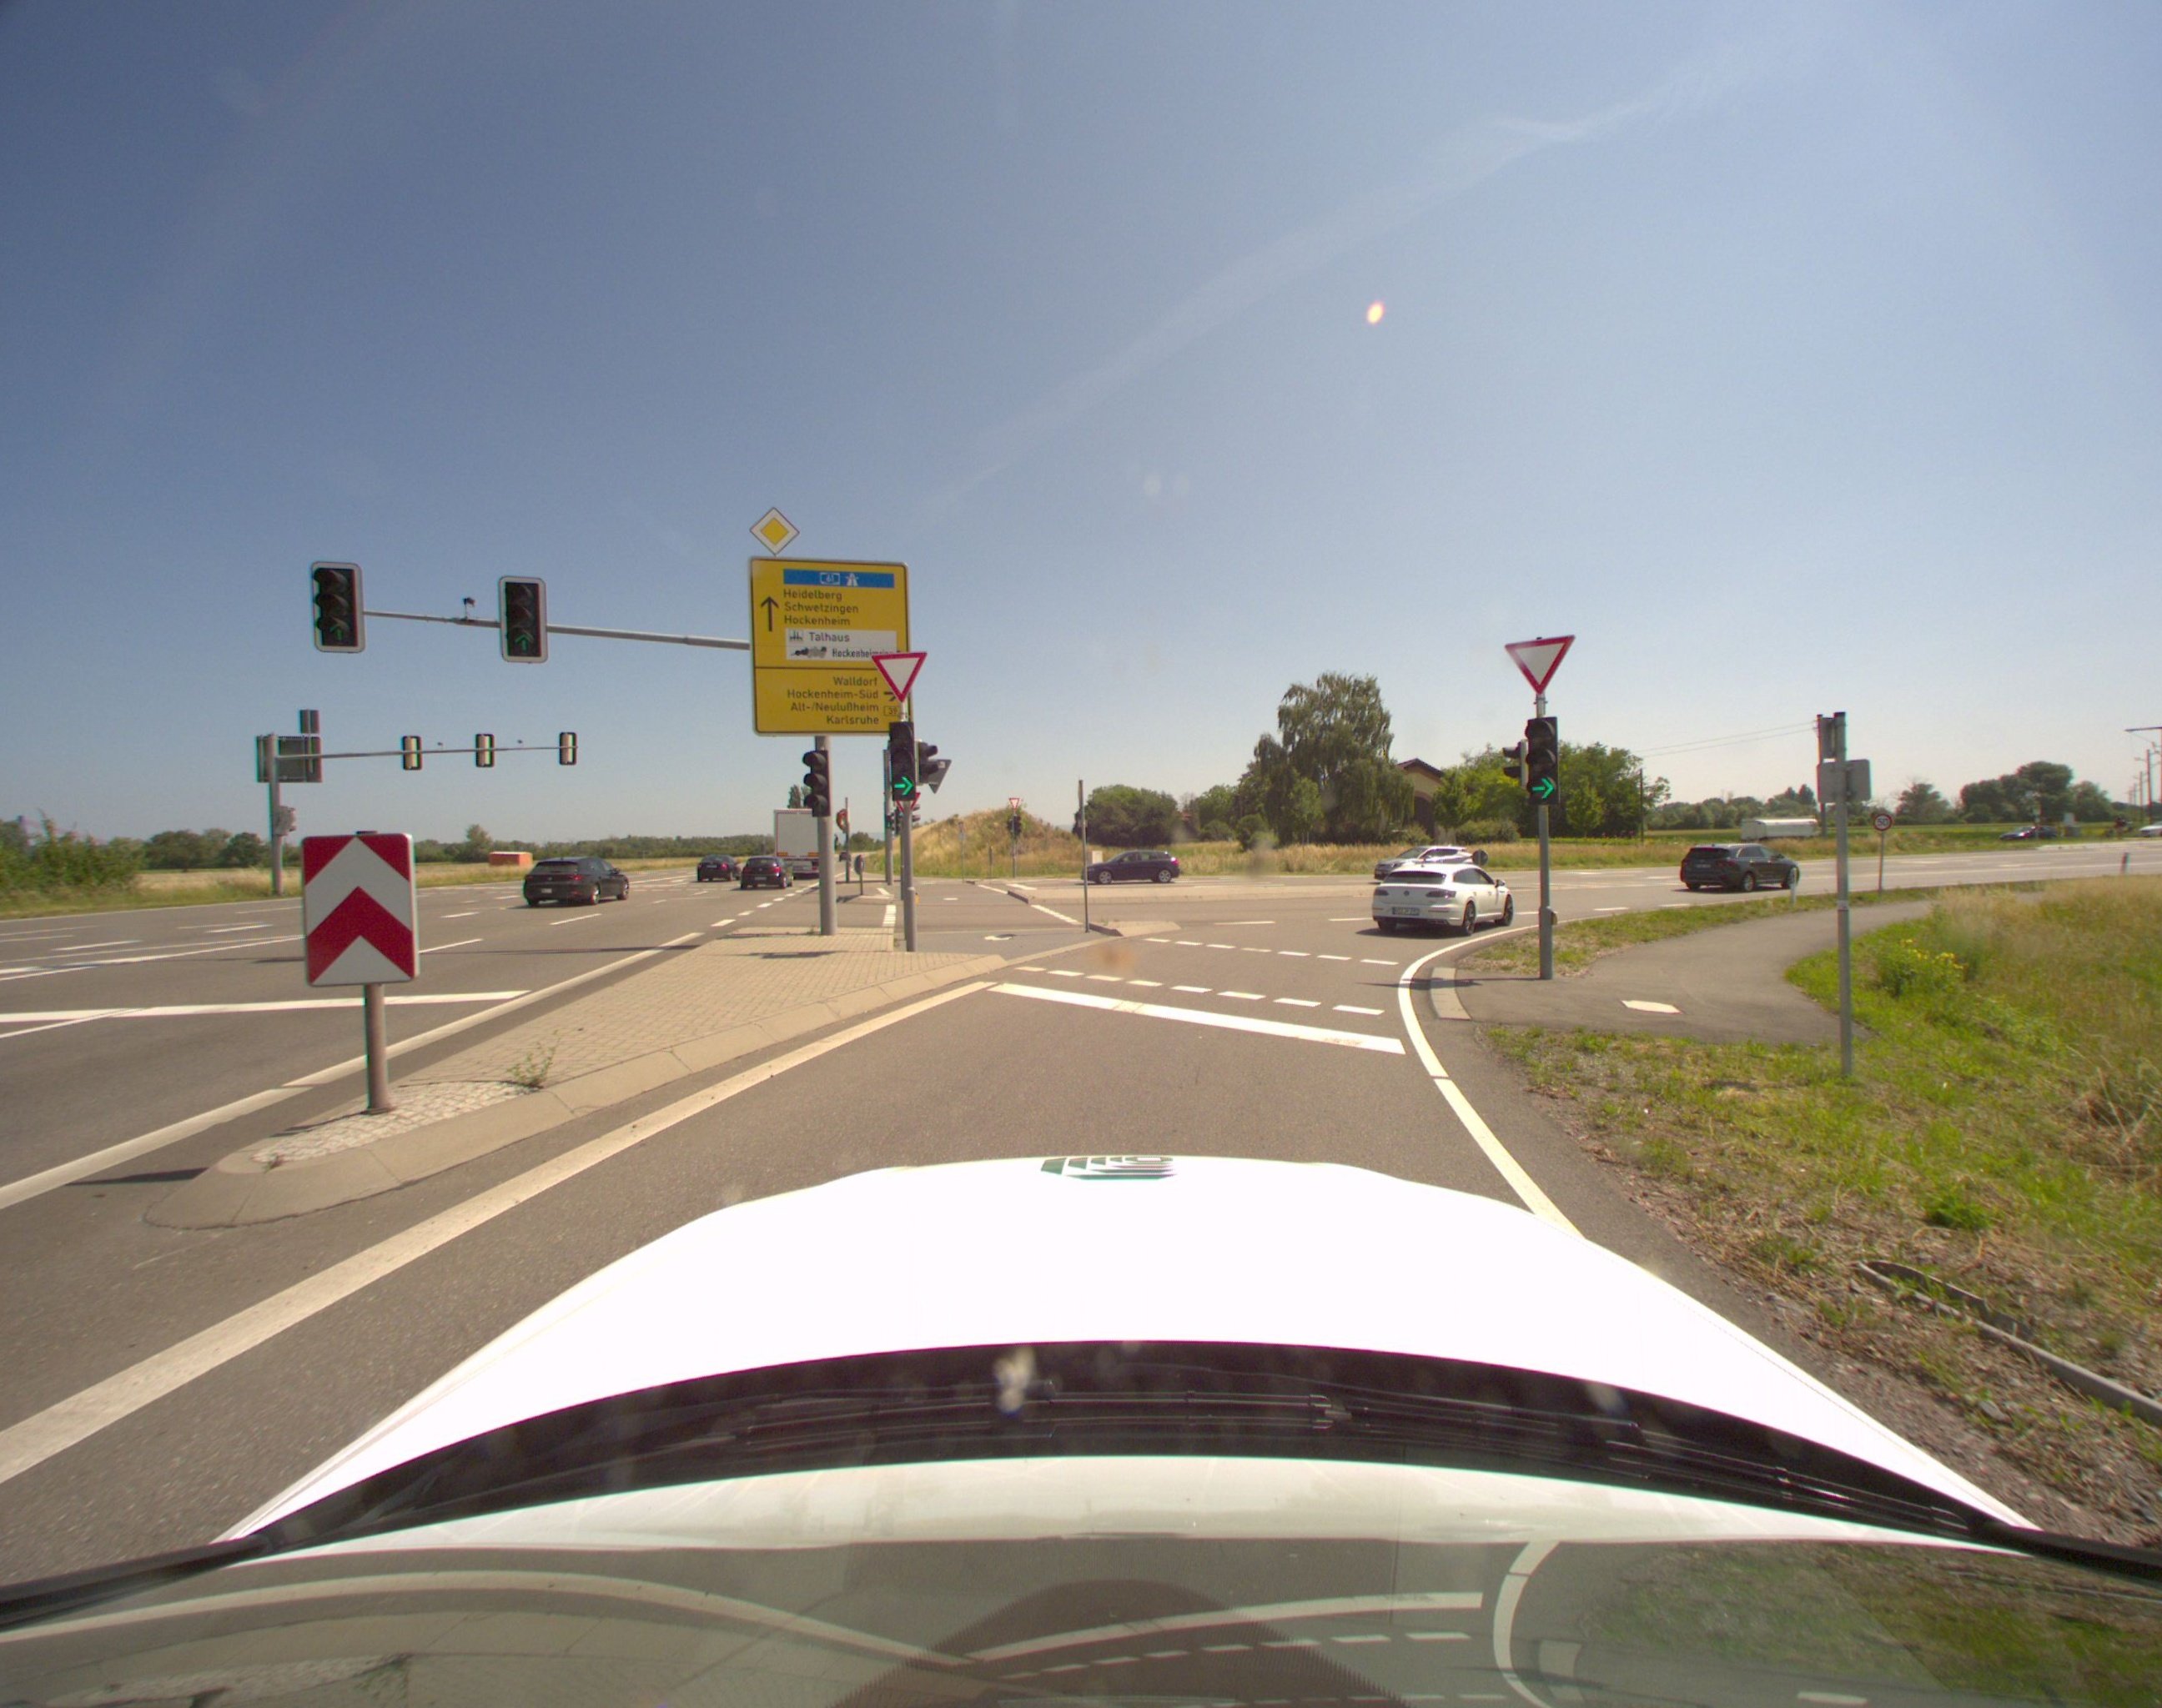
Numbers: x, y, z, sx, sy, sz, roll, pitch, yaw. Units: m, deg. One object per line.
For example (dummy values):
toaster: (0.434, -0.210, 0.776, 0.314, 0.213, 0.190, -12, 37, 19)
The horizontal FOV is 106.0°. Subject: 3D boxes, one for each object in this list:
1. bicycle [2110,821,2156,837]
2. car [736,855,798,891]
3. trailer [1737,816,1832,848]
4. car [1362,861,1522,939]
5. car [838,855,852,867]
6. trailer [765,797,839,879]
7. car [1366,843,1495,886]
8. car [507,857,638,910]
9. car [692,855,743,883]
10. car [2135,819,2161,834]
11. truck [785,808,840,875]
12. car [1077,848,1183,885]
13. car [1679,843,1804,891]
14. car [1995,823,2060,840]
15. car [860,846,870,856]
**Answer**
bicycle: (102.390, -2.423, 79.295, 0.903, 1.372, 2.597, 1, -1, -22)
car: (-13.542, 0.791, 35.360, 1.785, 1.430, 4.363, 0, 0, -11)
trailer: (60.533, -1.909, 70.100, 6.357, 2.455, 2.680, -2, 2, -8)
car: (7.886, 0.876, 17.541, 1.830, 1.433, 4.636, 0, 0, 41)
car: (-37.545, 1.110, 129.578, 1.984, 1.894, 4.444, 0, 0, -15)
trailer: (-17.352, -0.852, 51.527, 3.386, 4.542, 12.807, 0, 0, -15)
car: (14.154, 0.386, 33.059, 4.535, 1.543, 1.866, -2, 1, -9)
car: (-15.394, 0.822, 24.946, 1.890, 1.447, 4.508, 0, 0, -11)
car: (-19.744, 0.784, 44.406, 1.676, 1.412, 4.448, 0, 0, -12)
car: (94.311, -2.396, 70.218, 3.993, 1.332, 1.704, 0, 2, 16)
truck: (-19.091, -0.846, 58.260, 3.387, 4.543, 6.340, 0, 0, -15)
car: (2.059, 0.519, 35.021, 4.259, 1.368, 1.771, -2, 1, -9)
car: (23.671, 0.450, 29.167, 4.388, 1.616, 1.924, 0, -1, -28)
car: (80.744, -1.945, 69.520, 3.818, 1.387, 1.677, -1, 2, -4)
car: (-42.921, -0.557, 162.018, 1.984, 1.869, 4.444, 0, 0, -15)
